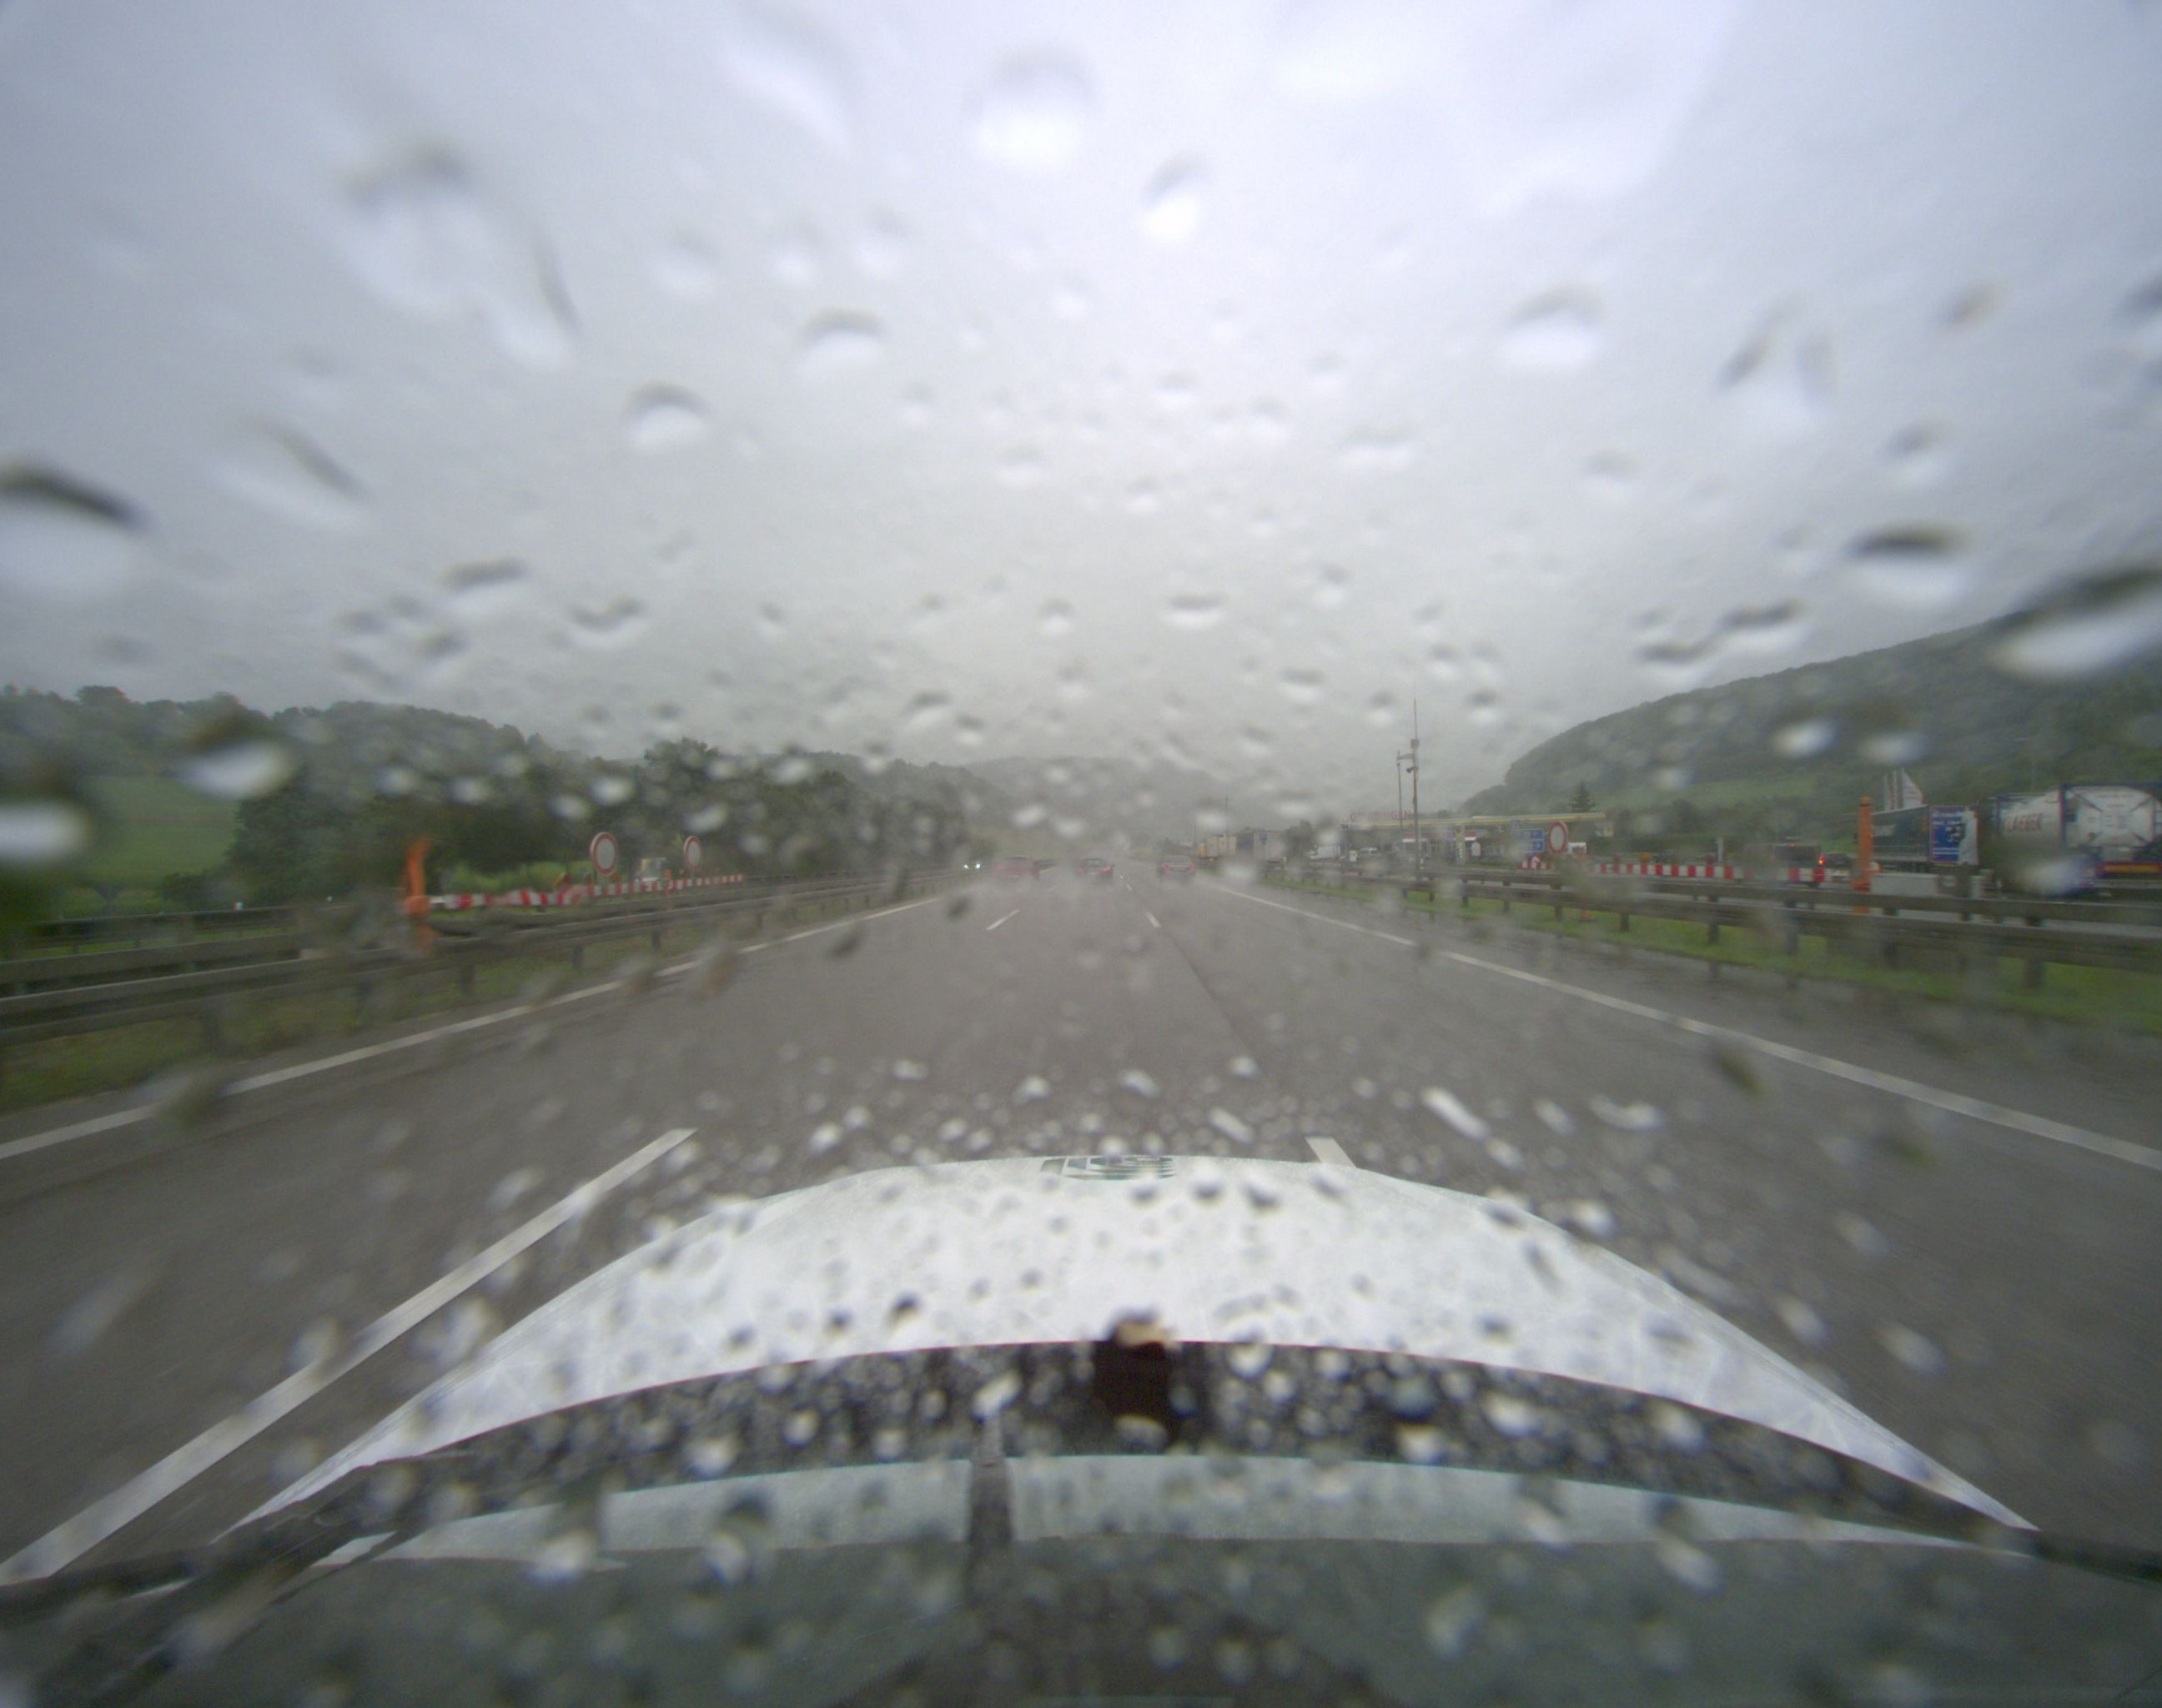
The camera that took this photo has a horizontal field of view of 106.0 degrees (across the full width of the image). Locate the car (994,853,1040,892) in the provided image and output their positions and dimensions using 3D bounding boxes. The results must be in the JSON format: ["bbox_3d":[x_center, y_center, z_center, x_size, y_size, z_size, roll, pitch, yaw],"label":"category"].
[{"bbox_3d":[-3.147,0.887,40.951,1.878,1.816,4.001,-1,0,1],"label":"car"}]

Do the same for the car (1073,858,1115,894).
[{"bbox_3d":[0.648,0.983,37.536,1.852,1.589,4.002,0,0,2],"label":"car"}]

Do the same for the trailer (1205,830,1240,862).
[{"bbox_3d":[20.098,-1.062,116.085,3.502,4.261,11.928,0,0,3],"label":"trailer"}]

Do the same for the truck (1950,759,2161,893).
[{"bbox_3d":[37.179,-0.877,31.107,2.842,4.256,11.947,-1,-1,34],"label":"truck"}]

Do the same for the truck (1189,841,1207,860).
[{"bbox_3d":[19.887,-0.567,138.761,2.281,3.147,8.872,0,0,4],"label":"truck"}]

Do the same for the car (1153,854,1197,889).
[{"bbox_3d":[4.905,0.869,42.971,1.964,1.760,4.002,-1,0,2],"label":"car"}]

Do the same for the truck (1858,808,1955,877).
[{"bbox_3d":[49.762,-0.626,49.323,2.721,3.867,7.582,-1,-1,35],"label":"truck"}]

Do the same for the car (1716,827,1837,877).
[{"bbox_3d":[30.637,-0.091,36.095,1.980,2.013,5.073,-1,0,13],"label":"car"}]

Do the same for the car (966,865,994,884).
[{"bbox_3d":[-12.848,2.542,104.112,2.617,2.228,5.999,-1,0,1],"label":"car"}]

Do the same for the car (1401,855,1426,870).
[{"bbox_3d":[46.580,1.206,114.039,1.953,2.014,4.001,0,0,2],"label":"car"}]

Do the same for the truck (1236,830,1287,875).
[{"bbox_3d":[18.874,-0.154,85.974,3.388,4.402,11.055,0,0,2],"label":"truck"}]

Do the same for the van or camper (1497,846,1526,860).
[{"bbox_3d":[59.974,-0.135,113.571,1.986,2.014,4.001,0,0,1],"label":"van or camper"}]

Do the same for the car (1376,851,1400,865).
[{"bbox_3d":[46.154,0.594,122.568,1.986,2.014,4.903,0,0,1],"label":"car"}]

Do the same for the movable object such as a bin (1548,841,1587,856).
[{"bbox_3d":[65.935,-0.718,110.404,2.158,2.014,5.384,0,0,1],"label":"movable object such as a bin"}]

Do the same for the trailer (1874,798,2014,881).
[{"bbox_3d":[45.886,-0.651,43.767,2.757,3.900,11.825,-1,-1,35],"label":"trailer"}]
